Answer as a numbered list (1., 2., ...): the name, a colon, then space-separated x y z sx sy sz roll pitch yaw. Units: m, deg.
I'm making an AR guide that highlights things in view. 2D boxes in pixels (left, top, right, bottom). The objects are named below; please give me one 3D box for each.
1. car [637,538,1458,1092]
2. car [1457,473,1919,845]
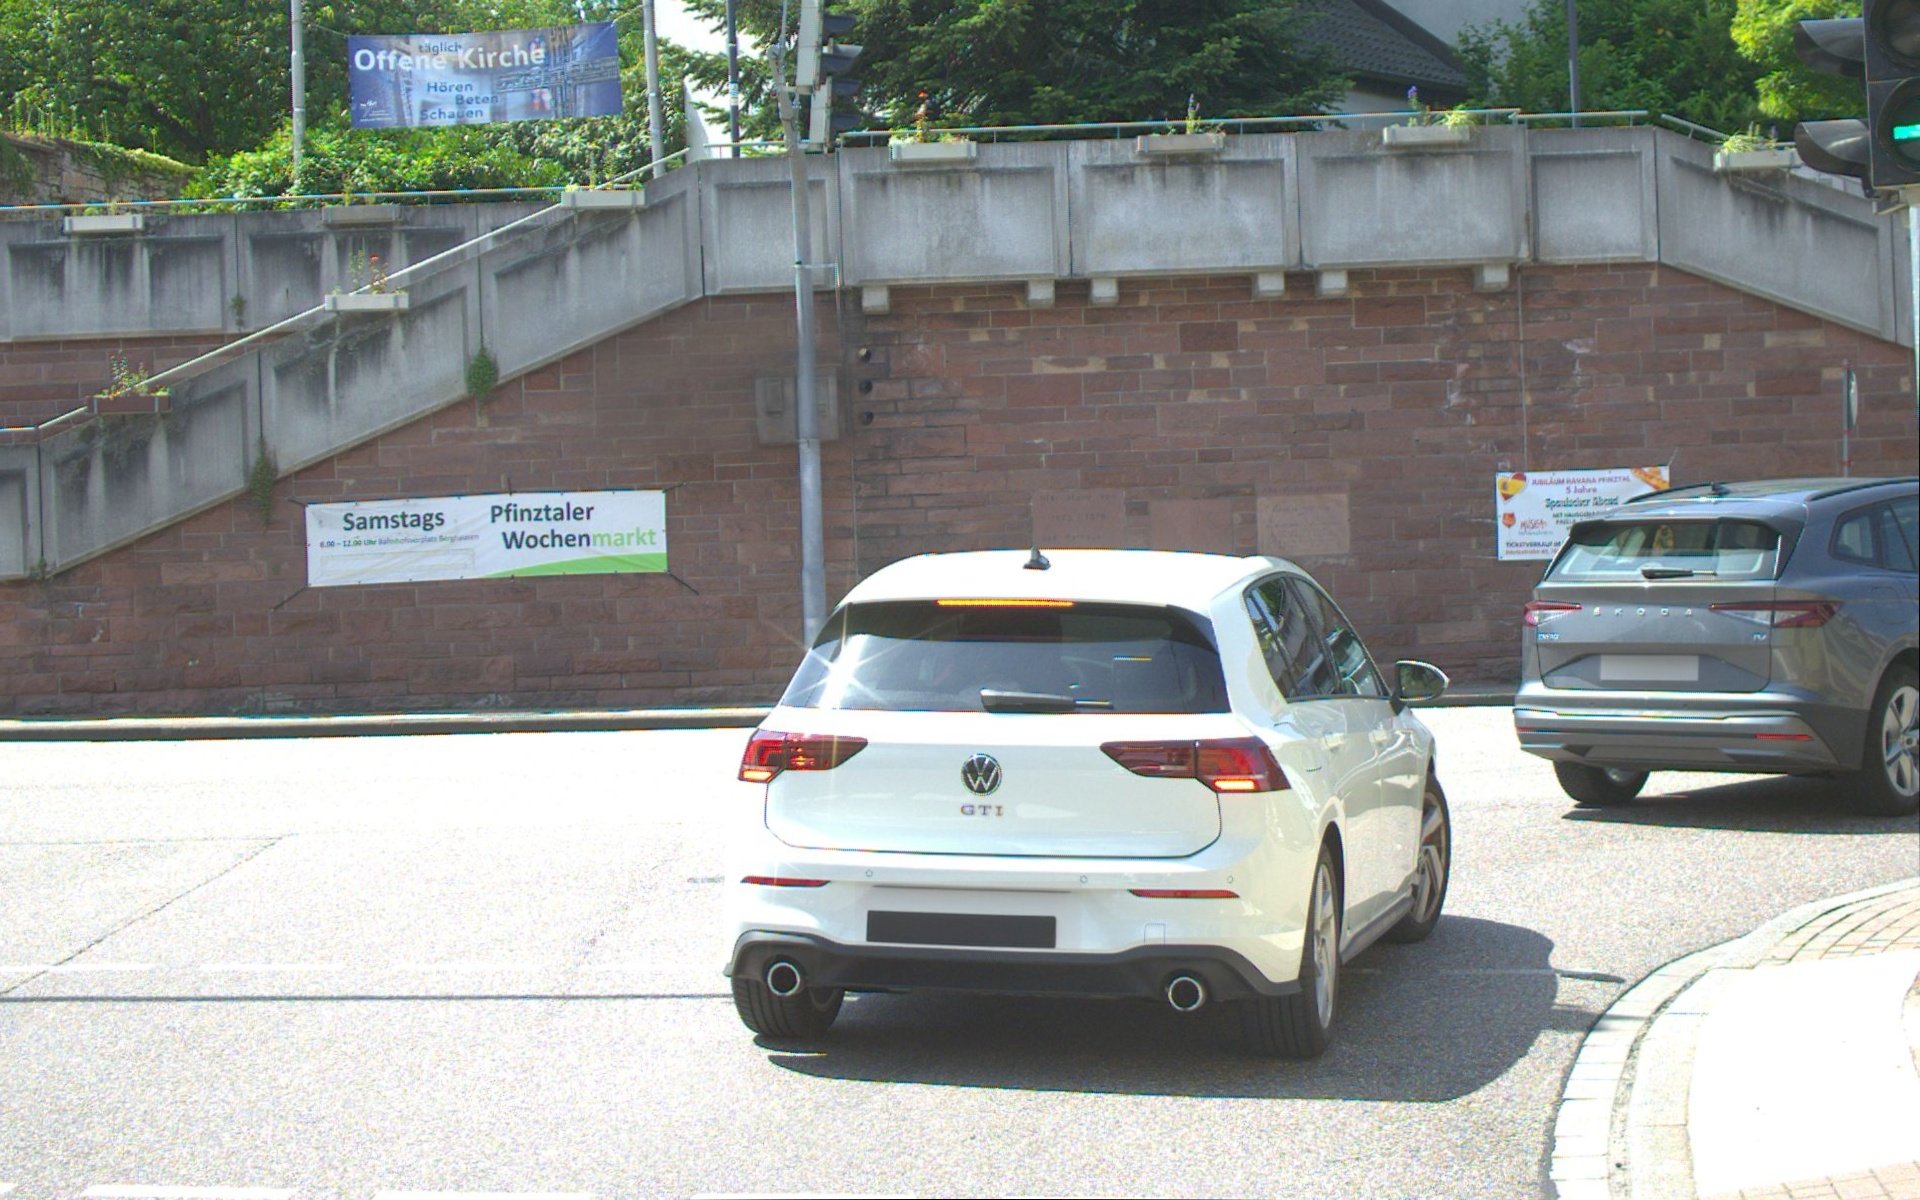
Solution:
1. car: 0.479 0.555 11.121 1.784 1.453 3.860 -2 1 15
2. car: 4.593 0.183 17.663 1.954 1.577 4.316 2 4 42
